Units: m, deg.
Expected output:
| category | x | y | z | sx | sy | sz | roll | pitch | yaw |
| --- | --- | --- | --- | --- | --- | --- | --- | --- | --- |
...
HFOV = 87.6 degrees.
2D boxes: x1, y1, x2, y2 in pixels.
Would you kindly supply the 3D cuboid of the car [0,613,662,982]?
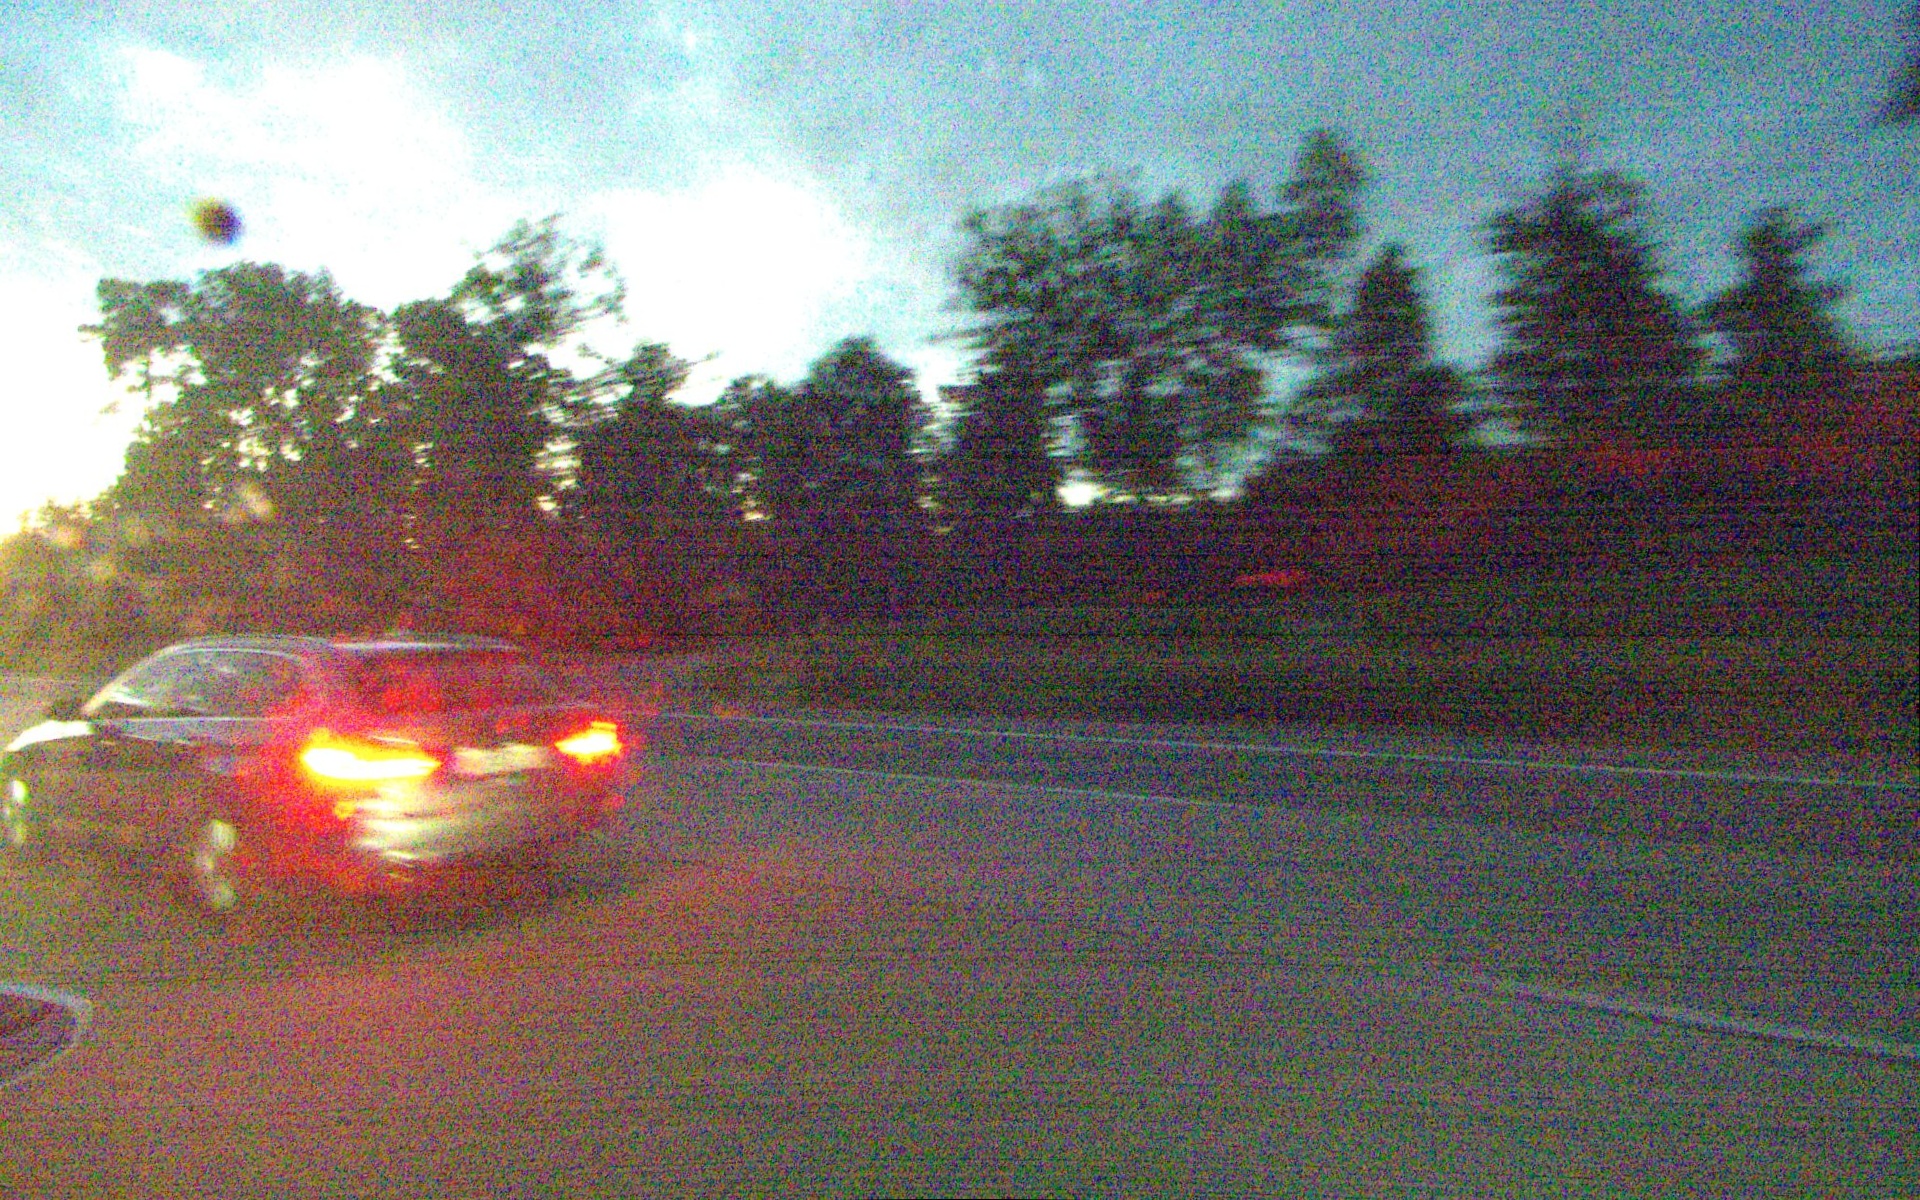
| category | x | y | z | sx | sy | sz | roll | pitch | yaw |
| --- | --- | --- | --- | --- | --- | --- | --- | --- | --- |
| car | -4.476 | 0.896 | 6.550 | 5.155 | 1.557 | 1.906 | 0 | -1 | 32 |
